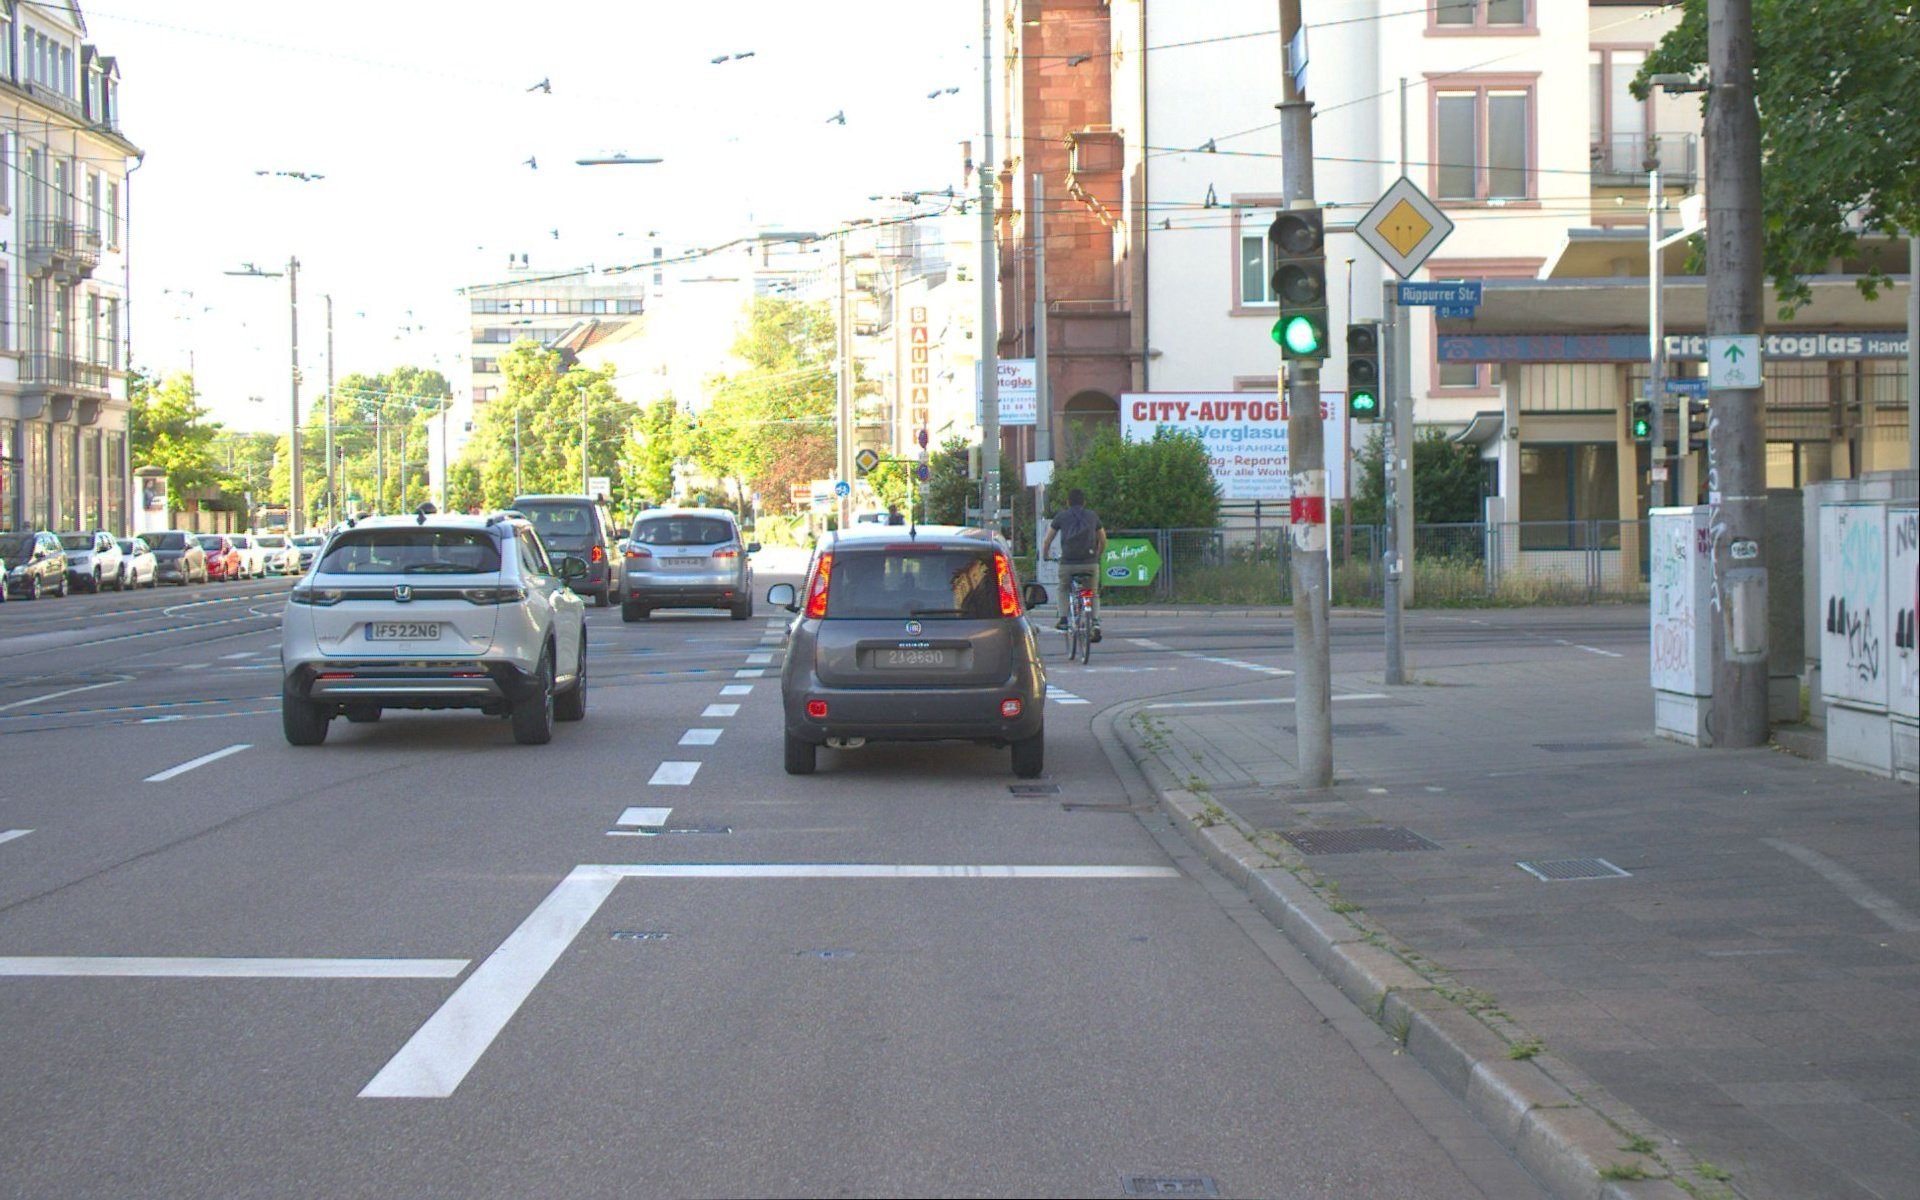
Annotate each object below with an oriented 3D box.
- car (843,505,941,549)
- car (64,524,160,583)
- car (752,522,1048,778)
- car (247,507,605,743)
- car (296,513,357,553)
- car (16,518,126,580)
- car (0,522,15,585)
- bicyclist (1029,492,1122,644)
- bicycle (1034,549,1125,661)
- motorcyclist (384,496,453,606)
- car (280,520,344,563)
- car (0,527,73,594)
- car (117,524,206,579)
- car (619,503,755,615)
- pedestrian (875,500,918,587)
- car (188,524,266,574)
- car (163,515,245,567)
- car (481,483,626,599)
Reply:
[{"bbox_3d":[-3.156,-3.361,158.620,4.257,2.007,2.001,0,1,-10],"label":"car"},{"bbox_3d":[-23.320,-1.305,94.684,1.719,1.546,4.001,-1,2,-1],"label":"car"},{"bbox_3d":[-0.306,0.251,22.432,1.731,1.495,4.000,0,2,2],"label":"car"},{"bbox_3d":[-3.676,0.110,24.371,1.947,1.523,4.090,0,2,-1],"label":"car"},{"bbox_3d":[-24.951,-2.646,135.566,1.719,1.546,4.001,-1,2,-1],"label":"car"},{"bbox_3d":[-23.120,-1.354,89.545,1.835,1.546,4.274,-1,2,-1],"label":"car"},{"bbox_3d":[-22.763,-1.033,77.826,1.719,1.447,4.001,-1,2,-1],"label":"car"},{"bbox_3d":[1.168,-0.328,34.899,0.833,1.520,0.994,0,1,-5],"label":"bicyclist"},{"bbox_3d":[1.196,0.035,34.784,0.771,1.082,1.871,0,1,-3],"label":"bicycle"},{"bbox_3d":[-7.018,-0.642,44.556,0.777,1.418,0.891,0,1,-2],"label":"motorcyclist"},{"bbox_3d":[-24.393,-2.226,129.569,1.719,1.546,4.001,-1,2,-1],"label":"car"},{"bbox_3d":[-22.681,-0.975,82.784,1.719,1.546,3.856,-1,2,-1],"label":"car"},{"bbox_3d":[-23.141,-1.426,99.763,1.719,1.546,4.001,-1,2,-1],"label":"car"},{"bbox_3d":[-4.015,-0.631,51.055,1.814,1.576,4.001,0,1,-2],"label":"car"},{"bbox_3d":[-1.335,-1.199,72.506,0.875,1.818,1.184,0,1,0],"label":"pedestrian"},{"bbox_3d":[-23.531,-1.660,110.460,1.719,1.546,4.000,-1,1,-1],"label":"car"},{"bbox_3d":[-23.227,-1.841,105.715,1.719,1.546,4.001,-1,2,-1],"label":"car"},{"bbox_3d":[-7.331,-1.083,62.457,2.172,2.002,4.809,-1,1,-2],"label":"car"}]
